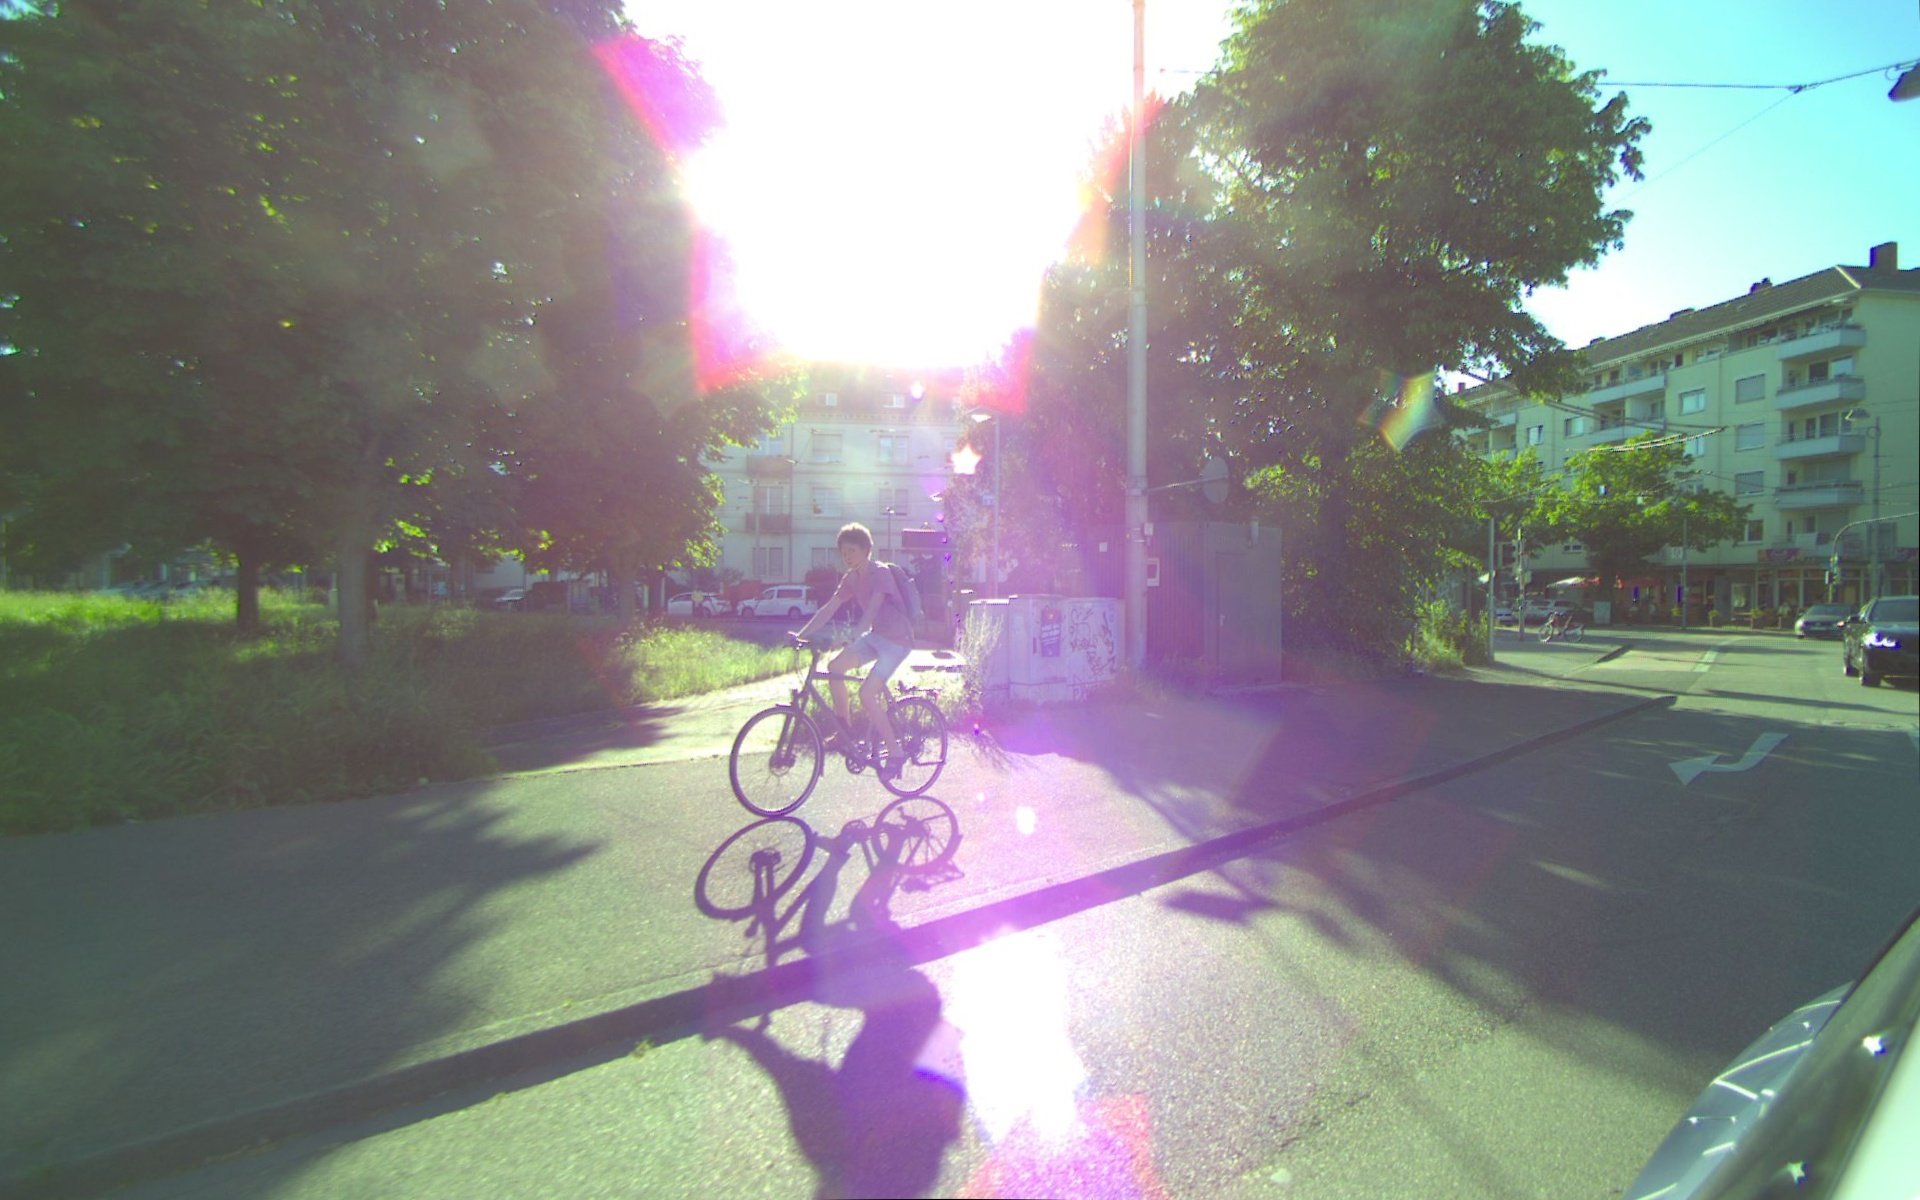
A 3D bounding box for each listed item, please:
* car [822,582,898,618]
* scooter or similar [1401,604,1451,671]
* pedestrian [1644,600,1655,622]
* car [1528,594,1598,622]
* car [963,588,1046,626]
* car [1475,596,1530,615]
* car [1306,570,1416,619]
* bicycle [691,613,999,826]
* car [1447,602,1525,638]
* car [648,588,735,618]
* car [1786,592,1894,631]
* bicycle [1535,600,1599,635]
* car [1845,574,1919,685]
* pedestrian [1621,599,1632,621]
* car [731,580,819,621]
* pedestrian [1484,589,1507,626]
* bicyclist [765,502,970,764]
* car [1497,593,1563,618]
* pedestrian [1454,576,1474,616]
[{"bbox_3d":[-5.936,0.009,60.246,4.115,1.943,1.996,-2,-1,7],"label":"car"},{"bbox_3d":[9.044,0.719,19.623,0.383,1.234,1.806,2,0,40],"label":"scooter or similar"},{"bbox_3d":[40.772,0.629,59.822,0.484,1.293,0.384,2,-3,-34],"label":"pedestrian"},{"bbox_3d":[35.802,0.450,60.110,3.137,1.506,1.579,-2,-1,-1],"label":"car"},{"bbox_3d":[2.332,0.364,52.157,4.115,1.739,1.996,-2,-1,7],"label":"car"},{"bbox_3d":[34.815,0.374,64.932,2.743,1.096,1.327,-2,-1,-1],"label":"car"},{"bbox_3d":[19.006,-0.244,48.120,4.480,2.204,1.947,-1,0,8],"label":"car"},{"bbox_3d":[-0.726,0.712,6.807,1.964,1.207,0.720,0,1,-38],"label":"bicycle"},{"bbox_3d":[29.417,1.096,56.733,1.820,1.829,4.223,-2,0,-5],"label":"car"},{"bbox_3d":[-14.761,0.152,55.700,4.305,1.446,1.687,-2,-1,8],"label":"car"},{"bbox_3d":[34.883,0.462,40.126,3.569,1.459,1.706,0,-2,-20],"label":"car"},{"bbox_3d":[20.321,0.589,33.882,1.770,1.141,0.628,0,-1,-4],"label":"bicycle"},{"bbox_3d":[18.843,0.485,19.700,1.930,1.958,4.466,-3,-1,36],"label":"car"},{"bbox_3d":[41.315,0.622,62.735,0.484,1.293,0.384,2,-3,-34],"label":"pedestrian"},{"bbox_3d":[-9.937,0.024,54.554,4.260,1.989,1.905,-2,-1,8],"label":"car"},{"bbox_3d":[24.167,0.333,45.684,0.660,1.612,0.727,-2,-1,7],"label":"pedestrian"},{"bbox_3d":[-0.630,0.195,6.919,1.128,1.619,0.814,0,0,-38],"label":"bicyclist"},{"bbox_3d":[35.324,0.342,62.785,3.137,1.420,1.579,-2,-1,-1],"label":"car"},{"bbox_3d":[22.622,-0.173,45.393,0.545,1.758,0.628,-2,-1,7],"label":"pedestrian"}]
